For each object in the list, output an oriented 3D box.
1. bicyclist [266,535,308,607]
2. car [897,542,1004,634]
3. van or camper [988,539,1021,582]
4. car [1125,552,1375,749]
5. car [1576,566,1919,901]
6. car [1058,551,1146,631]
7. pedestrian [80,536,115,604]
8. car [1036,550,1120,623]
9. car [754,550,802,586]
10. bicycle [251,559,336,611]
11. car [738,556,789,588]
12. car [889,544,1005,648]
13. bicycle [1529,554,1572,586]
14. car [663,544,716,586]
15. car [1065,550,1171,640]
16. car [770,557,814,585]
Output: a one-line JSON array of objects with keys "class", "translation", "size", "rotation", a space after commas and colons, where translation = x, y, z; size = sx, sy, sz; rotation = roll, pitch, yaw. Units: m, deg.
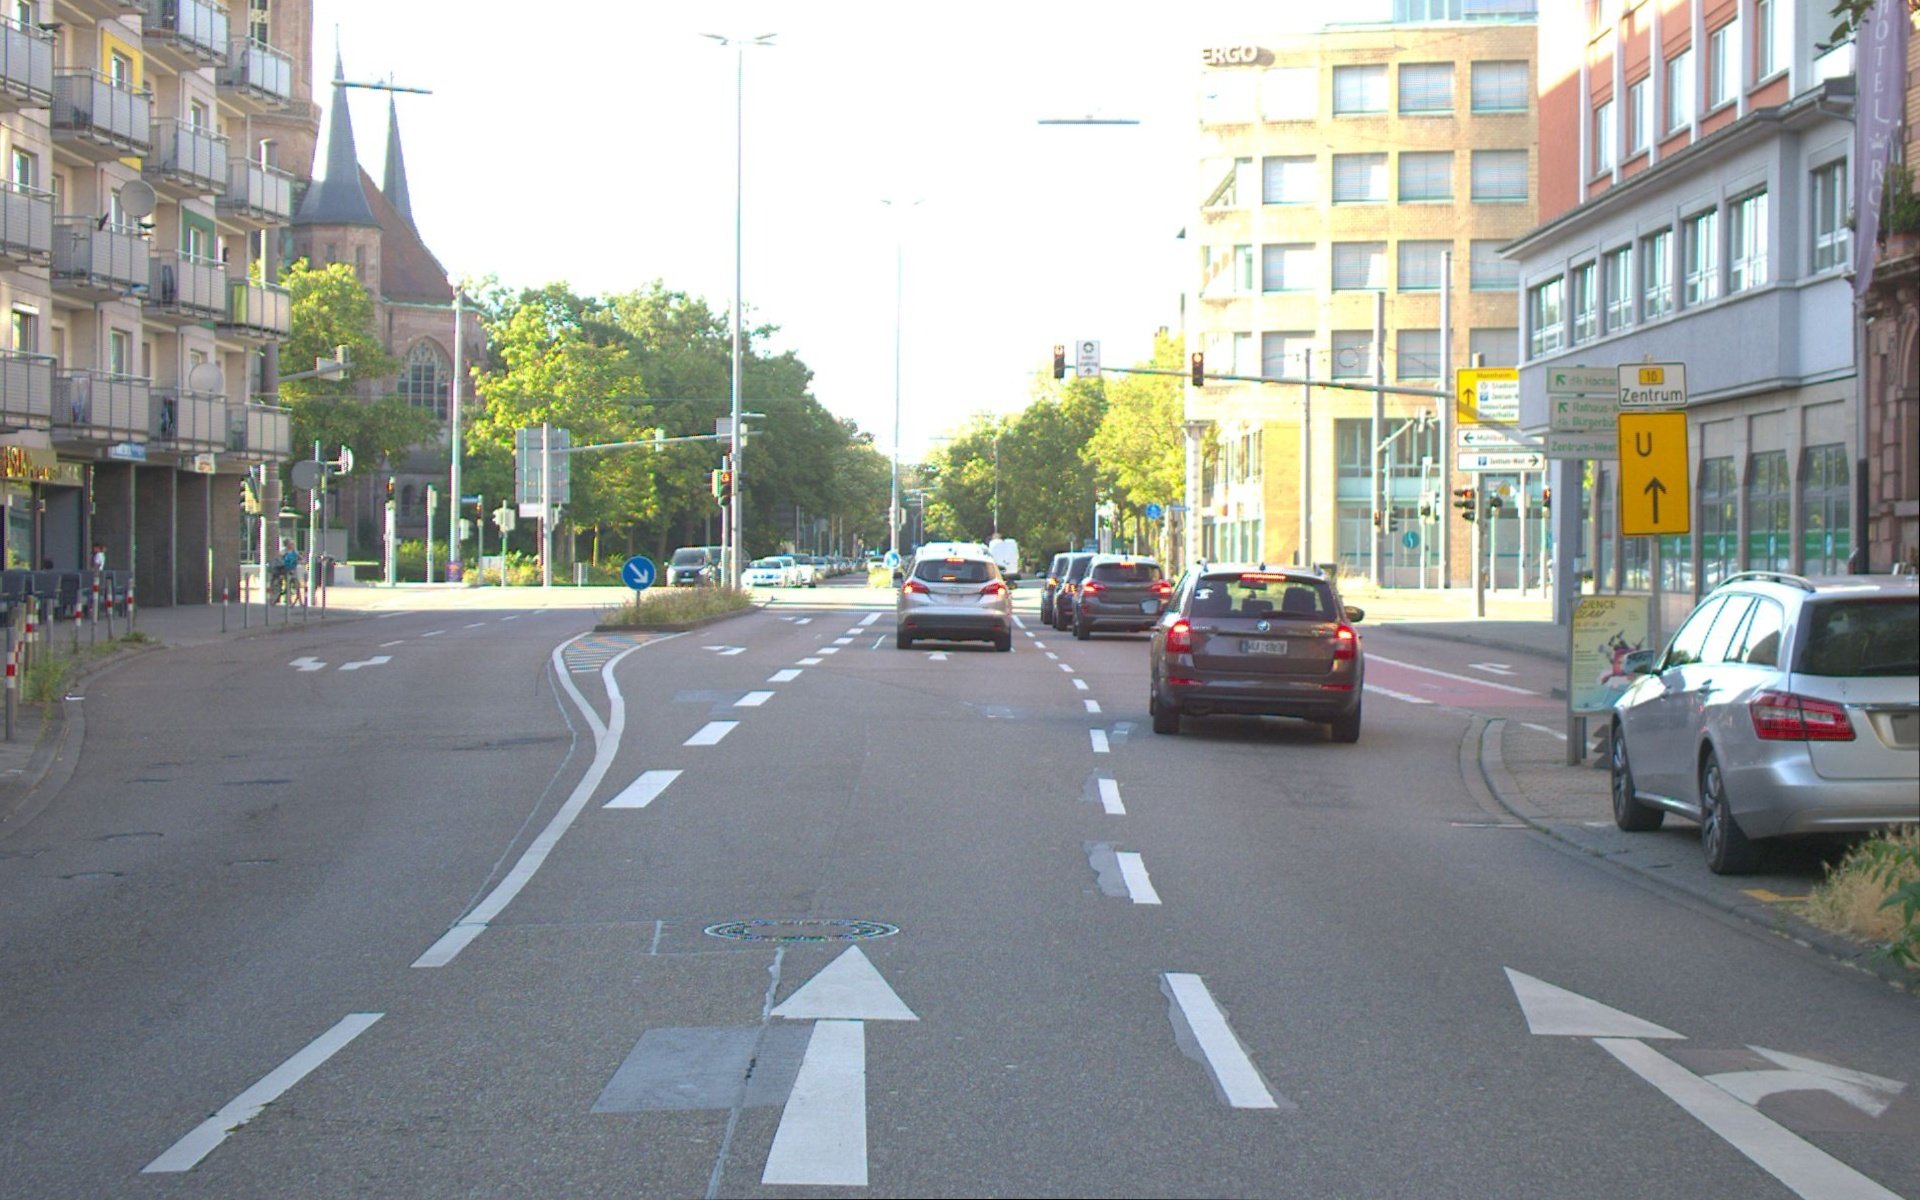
[{"class": "bicyclist", "translation": [-15.868, -0.685, 81.068], "size": [0.782, 1.654, 0.901], "rotation": [1, 0, 0]}, {"class": "car", "translation": [-0.201, -0.240, 60.749], "size": [1.803, 1.563, 3.619], "rotation": [0, 1, -1]}, {"class": "van or camper", "translation": [2.850, -2.537, 218.981], "size": [1.993, 2.631, 5.350], "rotation": [1, 1, 1]}, {"class": "car", "translation": [2.441, 0.378, 29.821], "size": [1.707, 1.452, 4.159], "rotation": [4, 1, 0]}, {"class": "car", "translation": [4.620, 0.597, 18.409], "size": [1.856, 1.507, 4.834], "rotation": [-1, 1, 1]}, {"class": "car", "translation": [2.761, -0.193, 67.232], "size": [1.489, 1.500, 3.479], "rotation": [1, 1, -1]}, {"class": "pedestrian", "translation": [-17.745, -0.622, 70.736], "size": [0.484, 1.379, 0.481], "rotation": [1, 0, 20]}, {"class": "car", "translation": [2.475, -0.303, 72.866], "size": [1.584, 1.442, 3.648], "rotation": [2, 1, 0]}, {"class": "car", "translation": [-7.695, -1.369, 145.925], "size": [1.780, 1.459, 4.000], "rotation": [1, 1, 0]}, {"class": "bicycle", "translation": [-15.622, -0.350, 80.583], "size": [1.827, 1.184, 0.734], "rotation": [1, 1, -1]}, {"class": "car", "translation": [-7.960, -1.148, 139.354], "size": [1.780, 1.232, 4.000], "rotation": [1, 1, 0]}, {"class": "car", "translation": [-0.201, -0.092, 53.853], "size": [1.707, 1.504, 4.309], "rotation": [2, 1, 0]}, {"class": "bicycle", "translation": [21.843, -1.110, 127.231], "size": [1.520, 1.168, 0.475], "rotation": [1, 1, 7]}, {"class": "car", "translation": [-10.990, -1.438, 139.915], "size": [1.780, 1.641, 4.000], "rotation": [1, 1, 0]}, {"class": "car", "translation": [2.785, -0.114, 61.333], "size": [1.650, 1.479, 4.239], "rotation": [2, 1, 0]}, {"class": "car", "translation": [-7.670, -1.331, 156.941], "size": [1.780, 1.232, 4.000], "rotation": [1, 1, 0]}]
